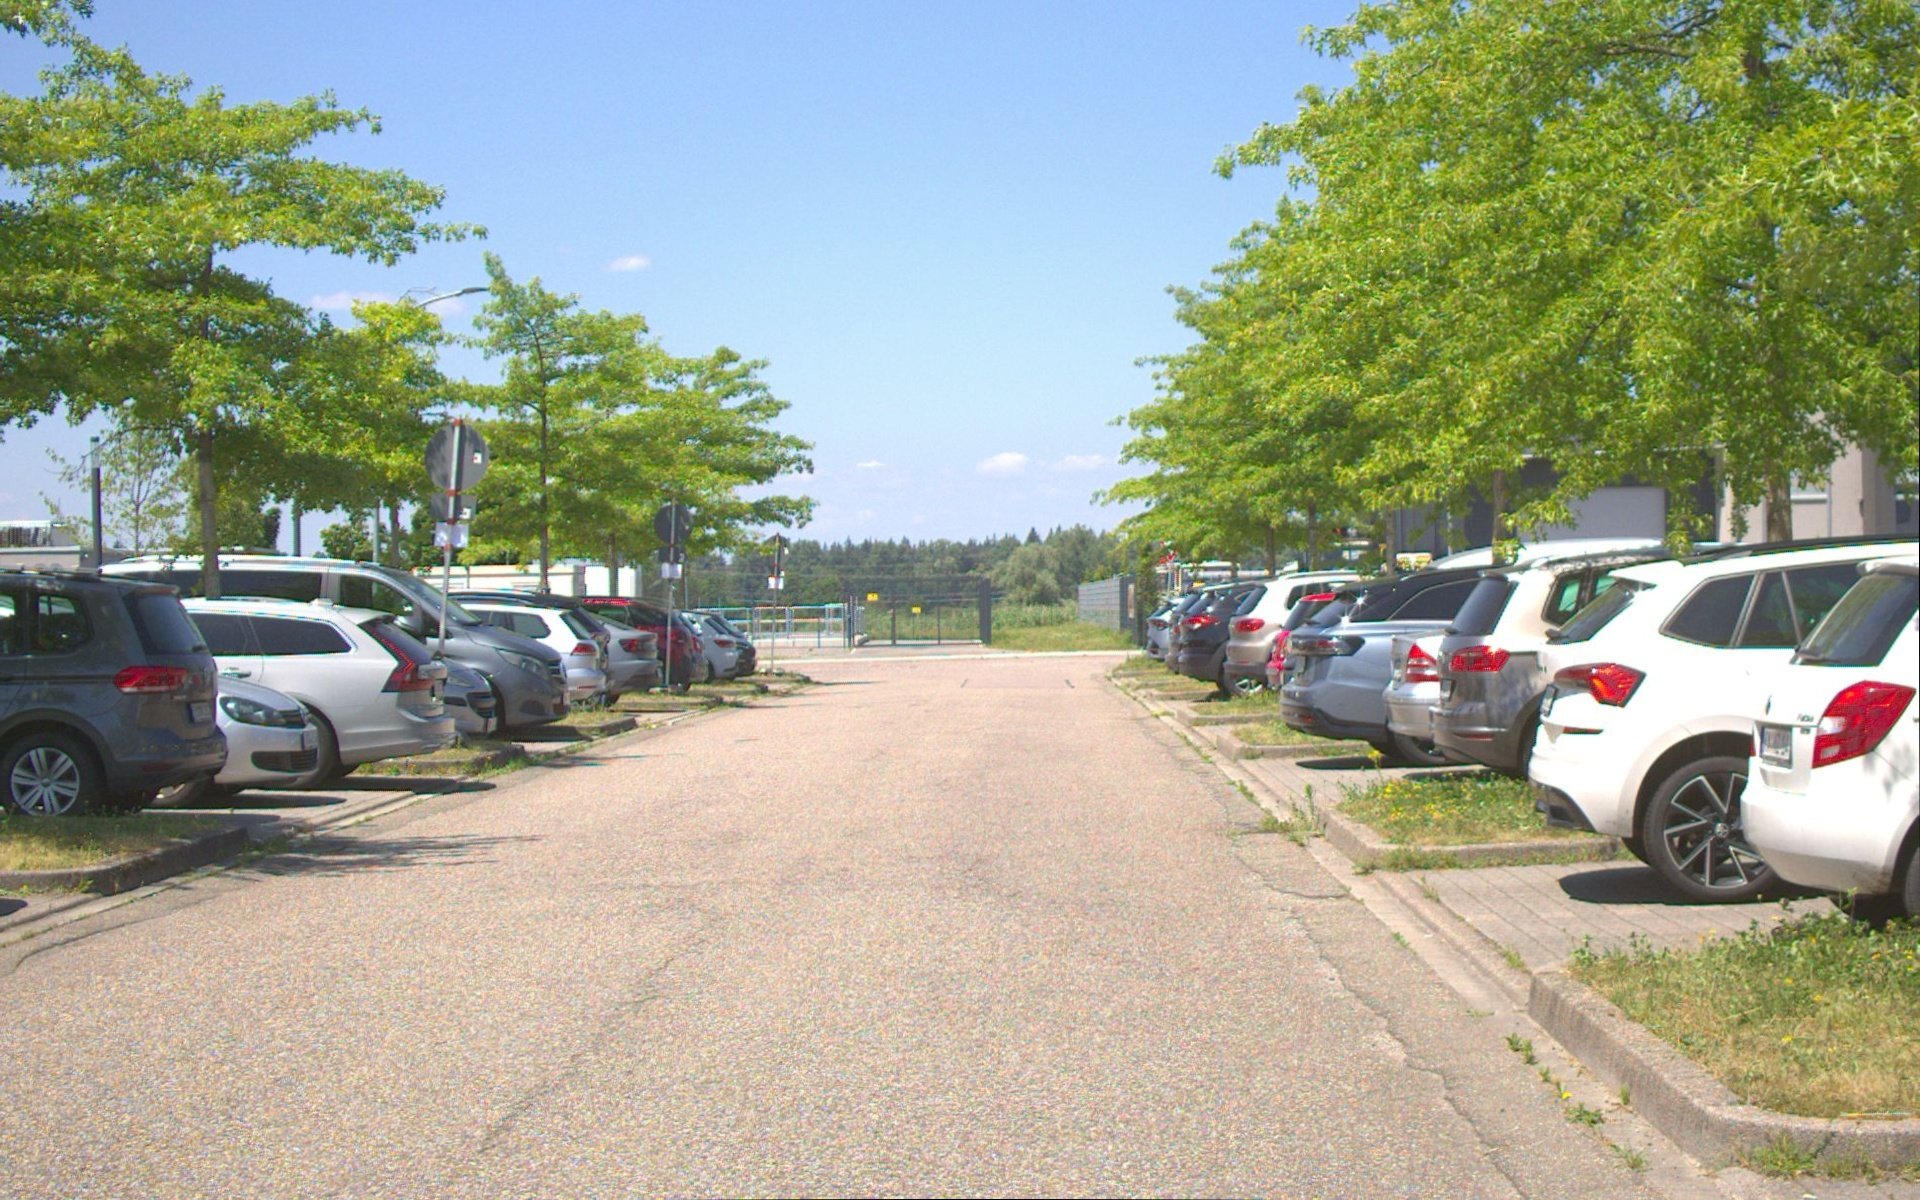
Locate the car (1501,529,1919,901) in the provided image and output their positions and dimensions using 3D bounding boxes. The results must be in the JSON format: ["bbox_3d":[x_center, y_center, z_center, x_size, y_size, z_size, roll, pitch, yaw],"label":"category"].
[{"bbox_3d":[4.413,0.454,15.351,3.835,1.548,1.779,-1,1,7],"label":"car"}]

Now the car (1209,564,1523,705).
[{"bbox_3d":[5.290,0.453,45.168,3.875,1.672,1.782,-2,0,1],"label":"car"}]

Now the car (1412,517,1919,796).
[{"bbox_3d":[5.063,0.334,22.189,4.047,1.619,1.693,-2,0,2],"label":"car"}]

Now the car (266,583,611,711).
[{"bbox_3d":[-6.439,0.577,42.698,4.037,1.456,1.604,2,0,-2],"label":"car"}]

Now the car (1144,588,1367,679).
[{"bbox_3d":[5.859,0.667,68.543,4.279,1.638,1.851,-2,0,1],"label":"car"}]

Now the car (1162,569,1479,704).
[{"bbox_3d":[4.978,0.502,47.883,4.173,1.690,1.782,-2,0,0],"label":"car"}]

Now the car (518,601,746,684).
[{"bbox_3d":[-6.043,0.783,63.731,4.075,1.419,1.874,1,0,-2],"label":"car"}]

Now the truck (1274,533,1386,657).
[{"bbox_3d":[12.150,-0.166,113.377,2.921,3.916,6.936,-1,0,0],"label":"truck"}]

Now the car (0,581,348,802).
[{"bbox_3d":[-6.689,0.609,24.578,4.310,1.468,1.727,1,0,-1],"label":"car"}]

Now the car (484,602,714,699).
[{"bbox_3d":[-5.930,0.820,56.731,3.656,1.503,1.731,1,0,-3],"label":"car"}]

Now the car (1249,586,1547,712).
[{"bbox_3d":[5.430,0.598,42.940,3.457,1.412,1.754,-2,0,1],"label":"car"}]

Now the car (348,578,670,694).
[{"bbox_3d":[-6.241,0.493,47.883,4.193,1.475,1.712,2,0,2],"label":"car"}]

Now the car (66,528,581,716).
[{"bbox_3d":[-6.737,0.224,36.748,5.070,1.885,1.997,1,0,3],"label":"car"}]

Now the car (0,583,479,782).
[{"bbox_3d":[-6.267,0.619,27.096,4.712,1.442,1.857,1,0,-2],"label":"car"}]

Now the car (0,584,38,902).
[{"bbox_3d":[-6.671,0.644,16.092,4.172,1.508,1.807,1,1,3],"label":"car"}]

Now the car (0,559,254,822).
[{"bbox_3d":[-6.862,0.534,22.445,4.117,1.629,1.727,1,0,0],"label":"car"}]

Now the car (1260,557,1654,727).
[{"bbox_3d":[4.851,0.414,33.934,3.631,1.498,1.676,-2,-1,2],"label":"car"}]

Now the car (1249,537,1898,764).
[{"bbox_3d":[4.794,0.388,27.324,4.715,1.555,1.914,-2,0,-2],"label":"car"}]

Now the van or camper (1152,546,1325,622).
[{"bbox_3d":[8.245,-0.472,102.032,4.936,2.156,2.000,-1,1,0],"label":"van or camper"}]

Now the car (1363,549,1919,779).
[{"bbox_3d":[5.024,0.439,24.668,4.047,1.448,1.645,-2,0,2],"label":"car"}]

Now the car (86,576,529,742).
[{"bbox_3d":[-6.379,0.569,33.904,3.969,1.479,1.764,2,0,1],"label":"car"}]

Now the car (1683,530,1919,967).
[{"bbox_3d":[4.824,0.479,12.881,3.834,1.519,1.779,-1,0,1],"label":"car"}]

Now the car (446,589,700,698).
[{"bbox_3d":[-6.061,0.678,54.119,3.738,1.616,1.816,1,0,2],"label":"car"}]

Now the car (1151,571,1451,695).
[{"bbox_3d":[5.331,0.517,54.186,4.449,1.762,1.993,-2,0,-1],"label":"car"}]

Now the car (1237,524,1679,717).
[{"bbox_3d":[5.227,0.220,36.524,4.403,1.824,1.795,-2,-1,2],"label":"car"}]

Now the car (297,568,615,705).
[{"bbox_3d":[-6.614,0.477,45.414,3.986,1.673,1.777,2,0,-4],"label":"car"}]
